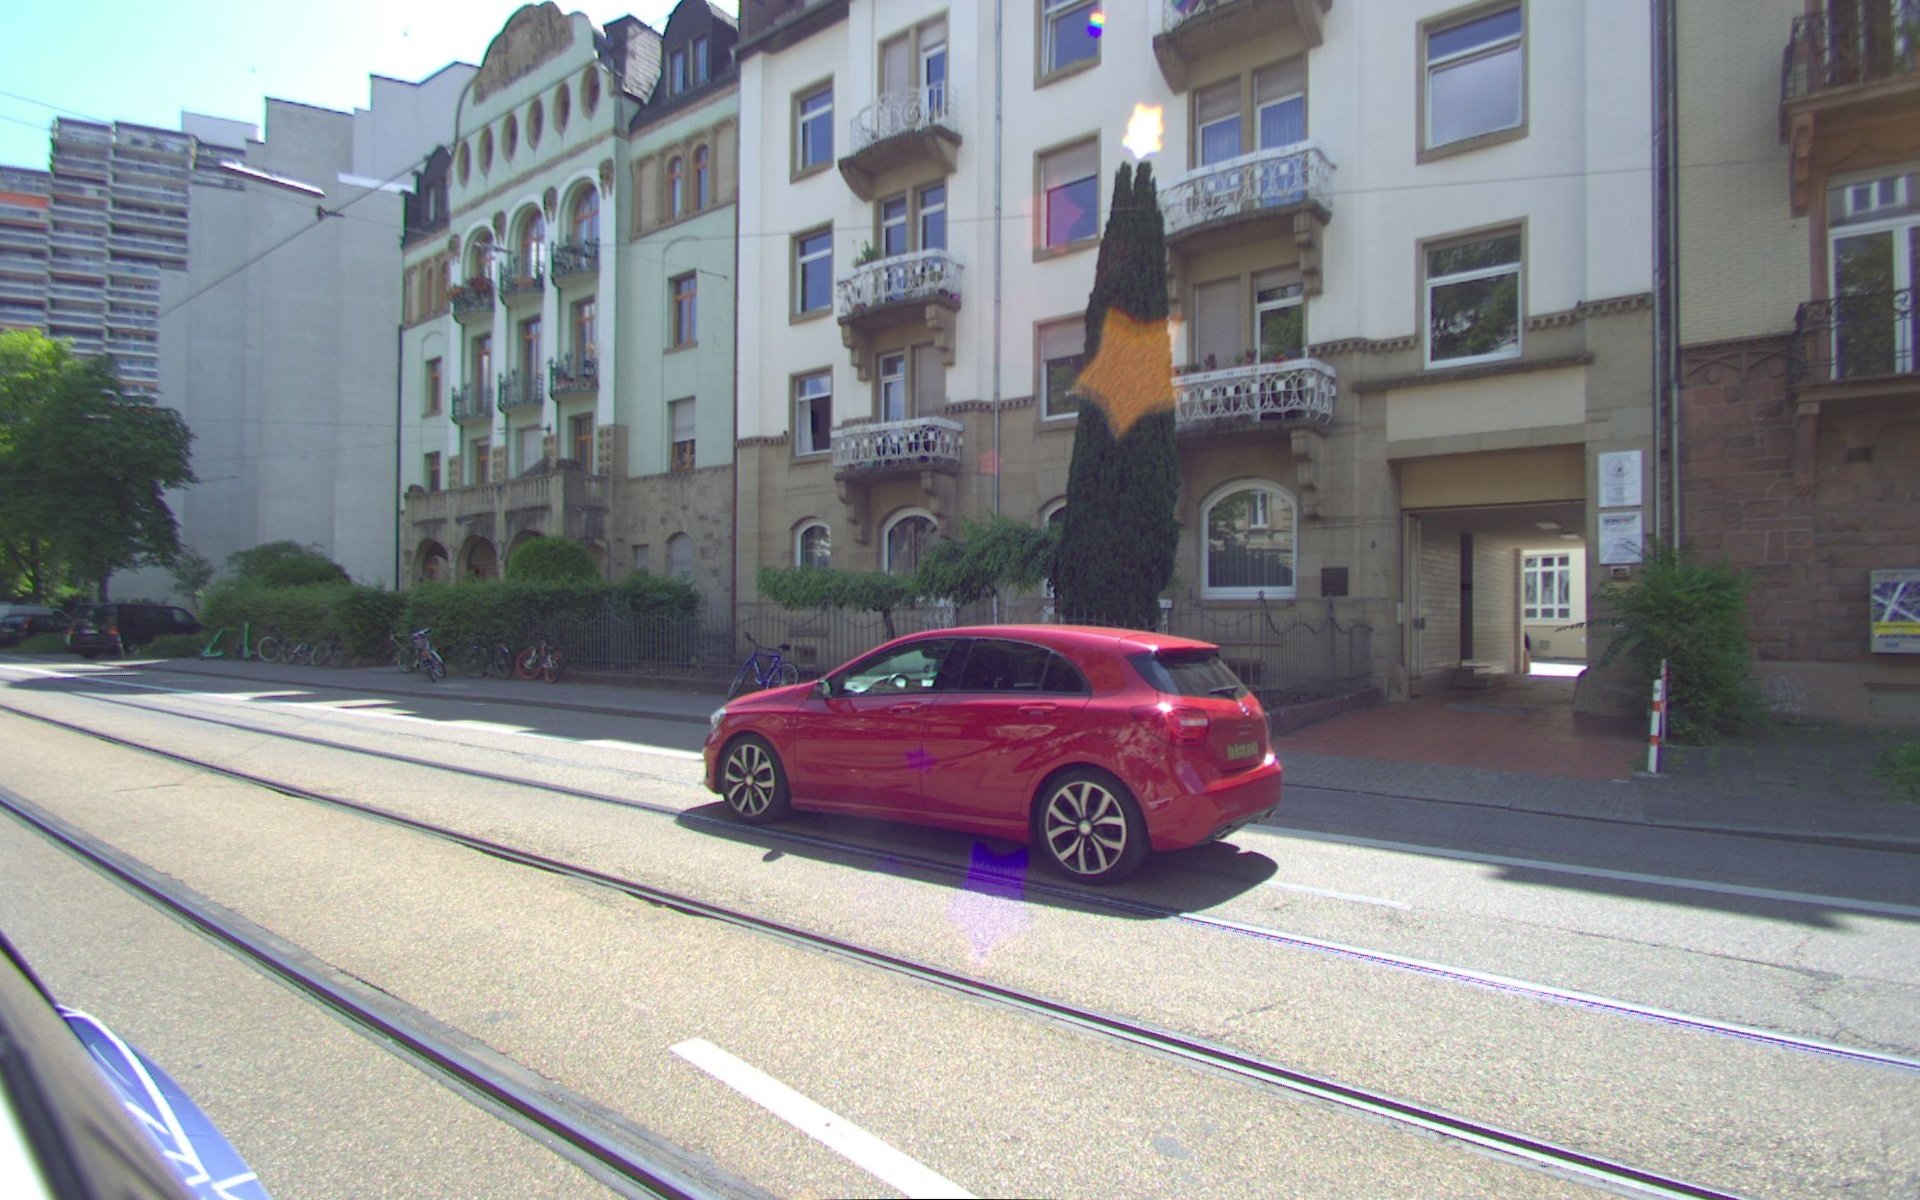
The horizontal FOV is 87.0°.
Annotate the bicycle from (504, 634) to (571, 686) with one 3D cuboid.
[{"bbox_3d":[-8.541,1.193,20.432,1.723,0.973,0.409,-1,2,38],"label":"bicycle"}]

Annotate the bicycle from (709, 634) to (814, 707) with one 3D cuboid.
[{"bbox_3d":[-3.220,1.103,16.315,1.769,1.073,0.602,-1,2,38],"label":"bicycle"}]

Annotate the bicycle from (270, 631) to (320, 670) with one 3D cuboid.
[{"bbox_3d":[-18.468,1.381,28.099,1.705,0.996,0.602,-1,2,38],"label":"bicycle"}]

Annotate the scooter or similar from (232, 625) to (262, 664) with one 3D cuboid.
[{"bbox_3d":[-21.404,1.316,30.377,1.289,1.128,0.401,-1,-1,40],"label":"scooter or similar"}]

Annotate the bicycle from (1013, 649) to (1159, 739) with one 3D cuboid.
[{"bbox_3d":[1.542,1.138,12.604,1.838,0.968,0.406,0,2,38],"label":"bicycle"}]

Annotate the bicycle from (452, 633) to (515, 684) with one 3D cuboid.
[{"bbox_3d":[-10.096,1.218,21.426,1.705,1.006,0.460,-1,2,38],"label":"bicycle"}]

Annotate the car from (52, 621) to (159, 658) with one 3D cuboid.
[{"bbox_3d":[-35.130,1.600,41.712,1.699,1.465,3.634,0,-1,-8],"label":"car"}]

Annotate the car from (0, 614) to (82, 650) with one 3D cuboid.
[{"bbox_3d":[-43.081,1.479,46.947,1.657,1.587,3.688,1,-1,-5],"label":"car"}]

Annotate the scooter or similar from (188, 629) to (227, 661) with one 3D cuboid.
[{"bbox_3d":[-24.069,1.433,32.374,1.216,1.028,0.404,0,-2,22],"label":"scooter or similar"}]

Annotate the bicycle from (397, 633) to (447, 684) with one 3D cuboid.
[{"bbox_3d":[-11.370,1.220,21.434,0.599,1.007,1.780,1,-1,-17],"label":"bicycle"}]

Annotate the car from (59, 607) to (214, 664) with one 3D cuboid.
[{"bbox_3d":[-30.153,1.286,37.279,1.935,1.940,4.585,0,-1,0],"label":"car"}]

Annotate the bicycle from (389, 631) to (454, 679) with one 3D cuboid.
[{"bbox_3d":[-12.500,1.260,23.465,1.769,1.040,0.602,-1,2,38],"label":"bicycle"}]

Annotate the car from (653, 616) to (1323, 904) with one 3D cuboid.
[{"bbox_3d":[0.025,0.857,7.057,4.419,1.424,1.807,-1,-3,36],"label":"car"}]

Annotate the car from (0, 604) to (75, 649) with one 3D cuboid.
[{"bbox_3d":[-45.554,1.278,49.207,1.579,2.058,4.055,0,-1,-3],"label":"car"}]

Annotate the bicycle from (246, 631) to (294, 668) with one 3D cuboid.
[{"bbox_3d":[-19.946,1.405,29.241,1.705,0.996,0.602,-1,2,38],"label":"bicycle"}]

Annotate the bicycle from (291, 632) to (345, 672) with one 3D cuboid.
[{"bbox_3d":[-17.068,1.369,26.891,1.769,0.983,0.602,-1,2,38],"label":"bicycle"}]

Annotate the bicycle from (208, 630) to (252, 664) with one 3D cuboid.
[{"bbox_3d":[-22.627,1.447,31.346,1.705,0.996,0.602,-1,2,38],"label":"bicycle"}]
